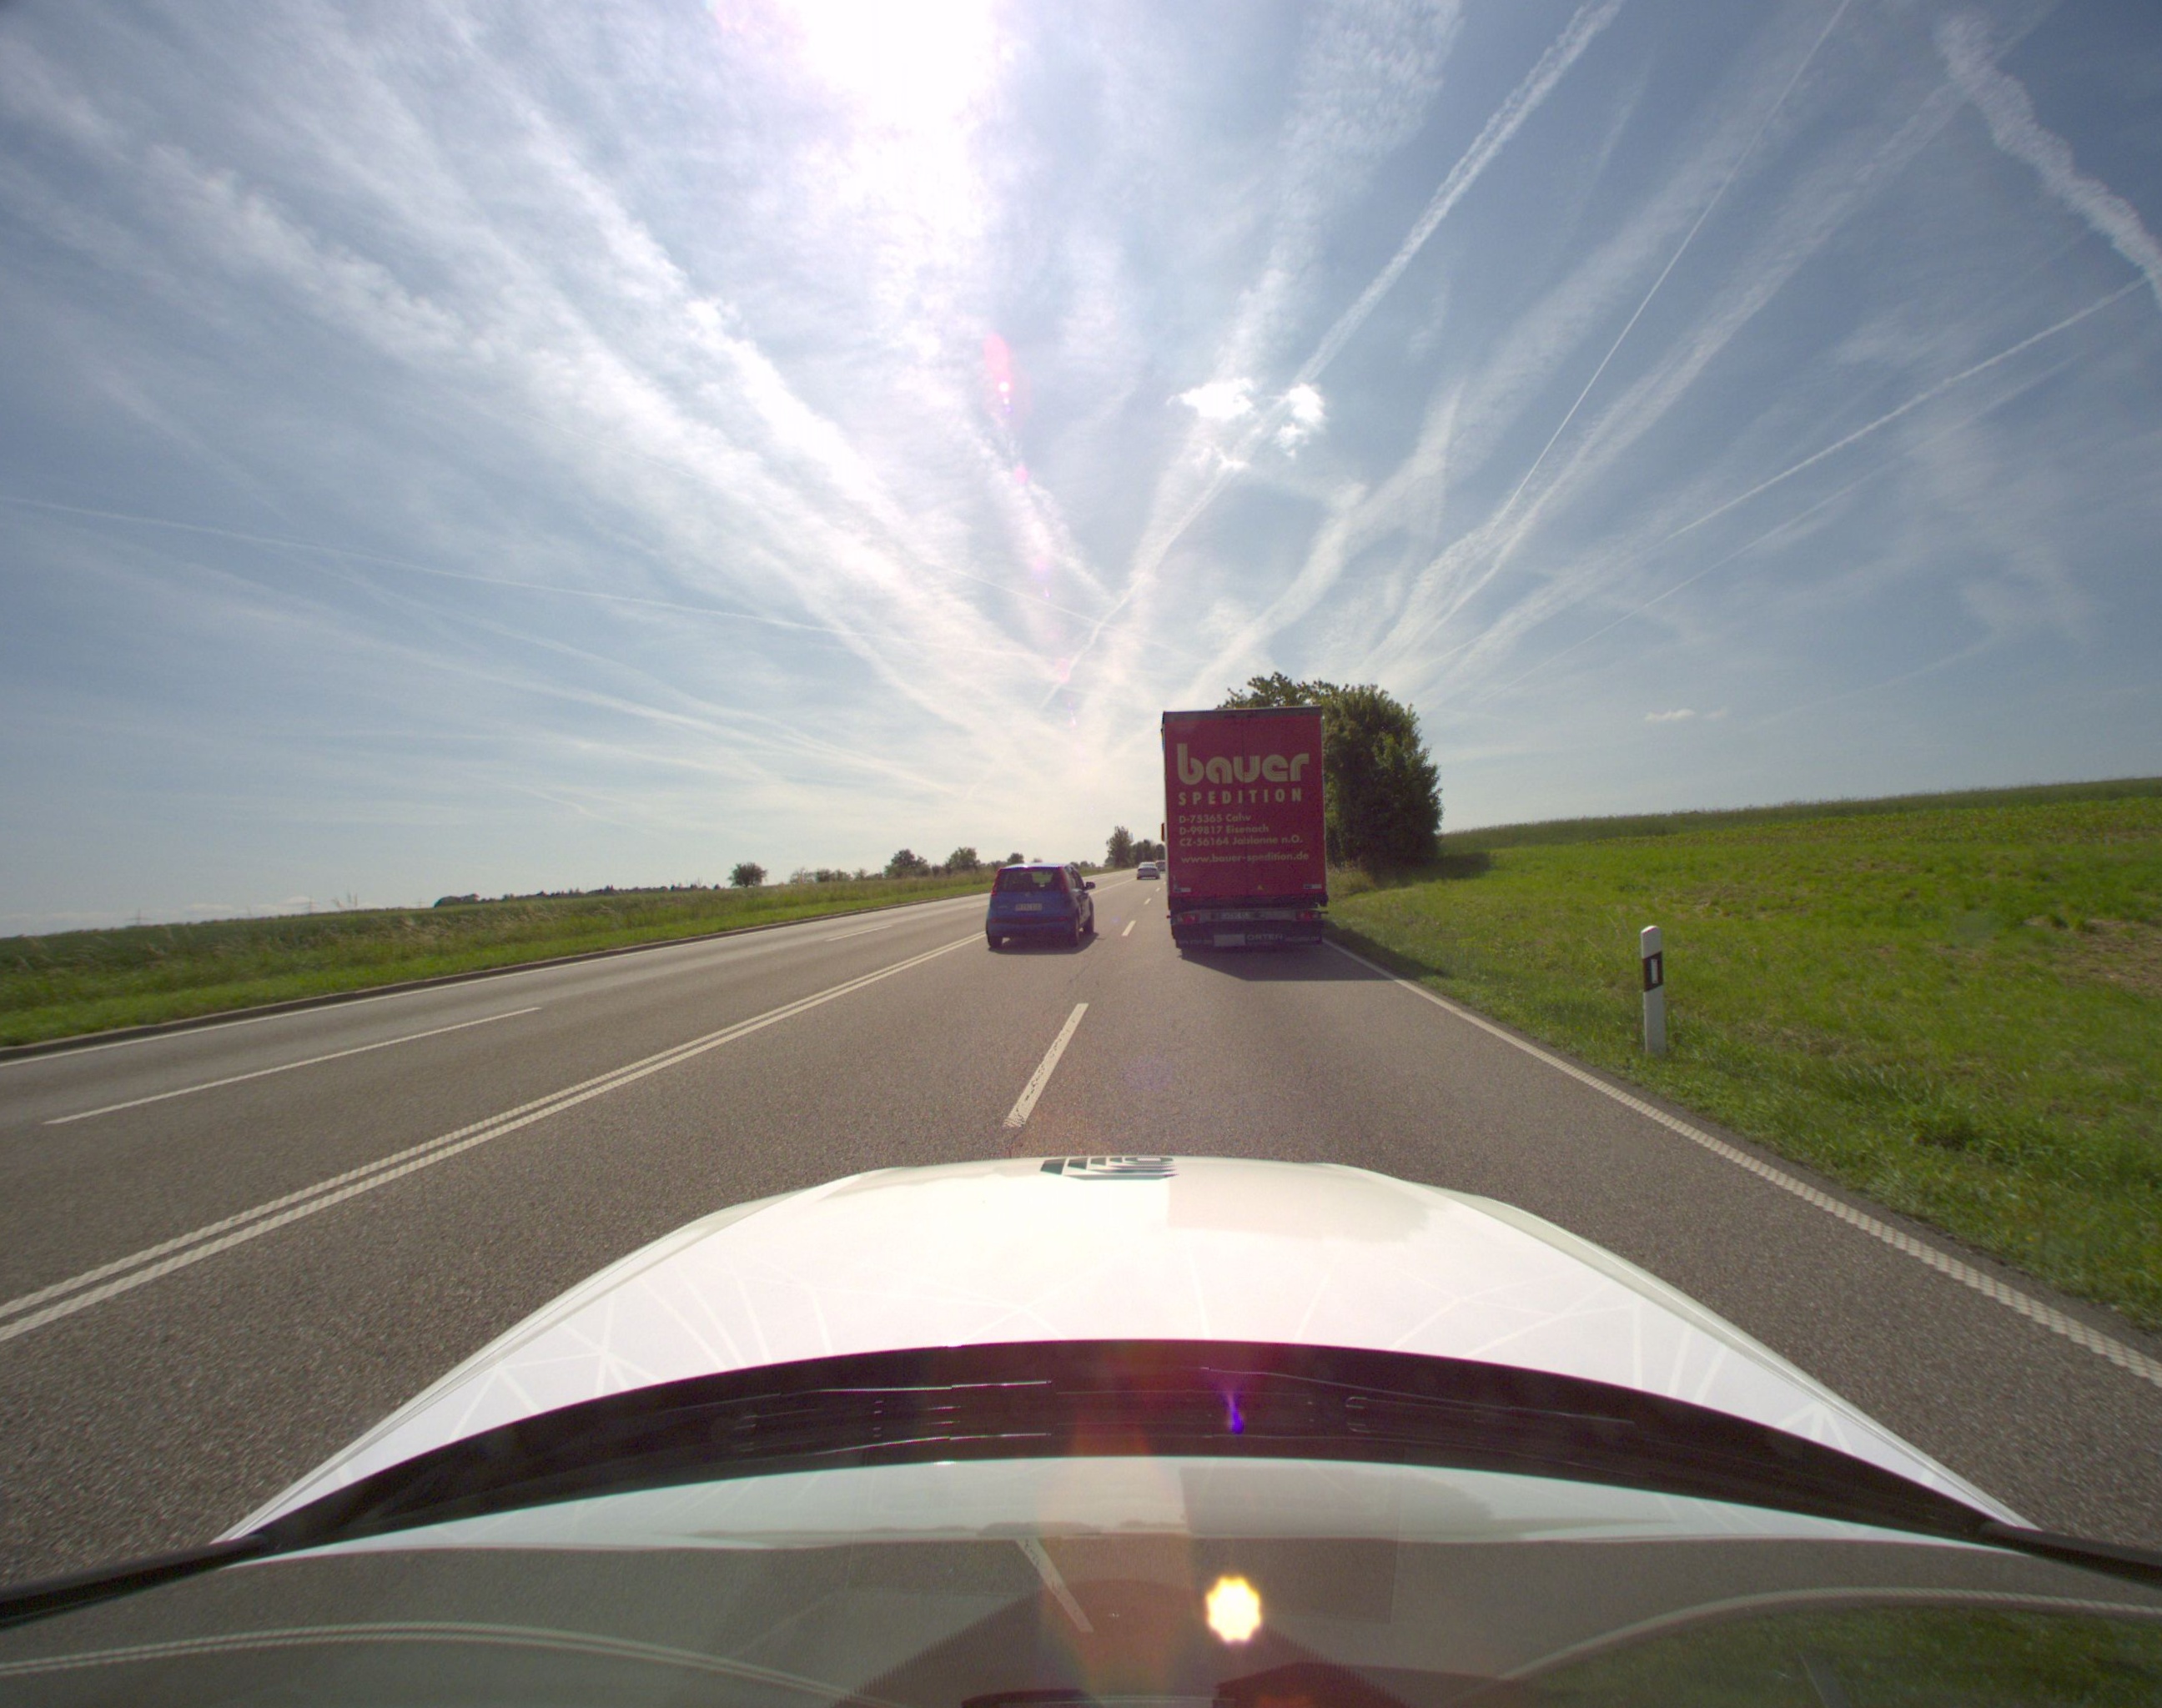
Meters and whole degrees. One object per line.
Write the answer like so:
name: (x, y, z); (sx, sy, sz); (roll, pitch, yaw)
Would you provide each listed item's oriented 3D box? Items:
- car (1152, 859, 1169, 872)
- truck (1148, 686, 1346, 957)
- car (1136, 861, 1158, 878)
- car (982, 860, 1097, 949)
car: (9.570, 1.388, 97.746); (1.811, 1.472, 4.799); (0, 0, 8)
truck: (3.288, -0.438, 21.048); (2.993, 4.180, 16.735); (-1, -1, 5)
car: (5.493, 1.269, 67.695); (1.694, 1.376, 4.611); (-1, -1, 6)
car: (-0.702, 0.905, 16.362); (1.623, 1.531, 3.922); (-2, -1, 7)
